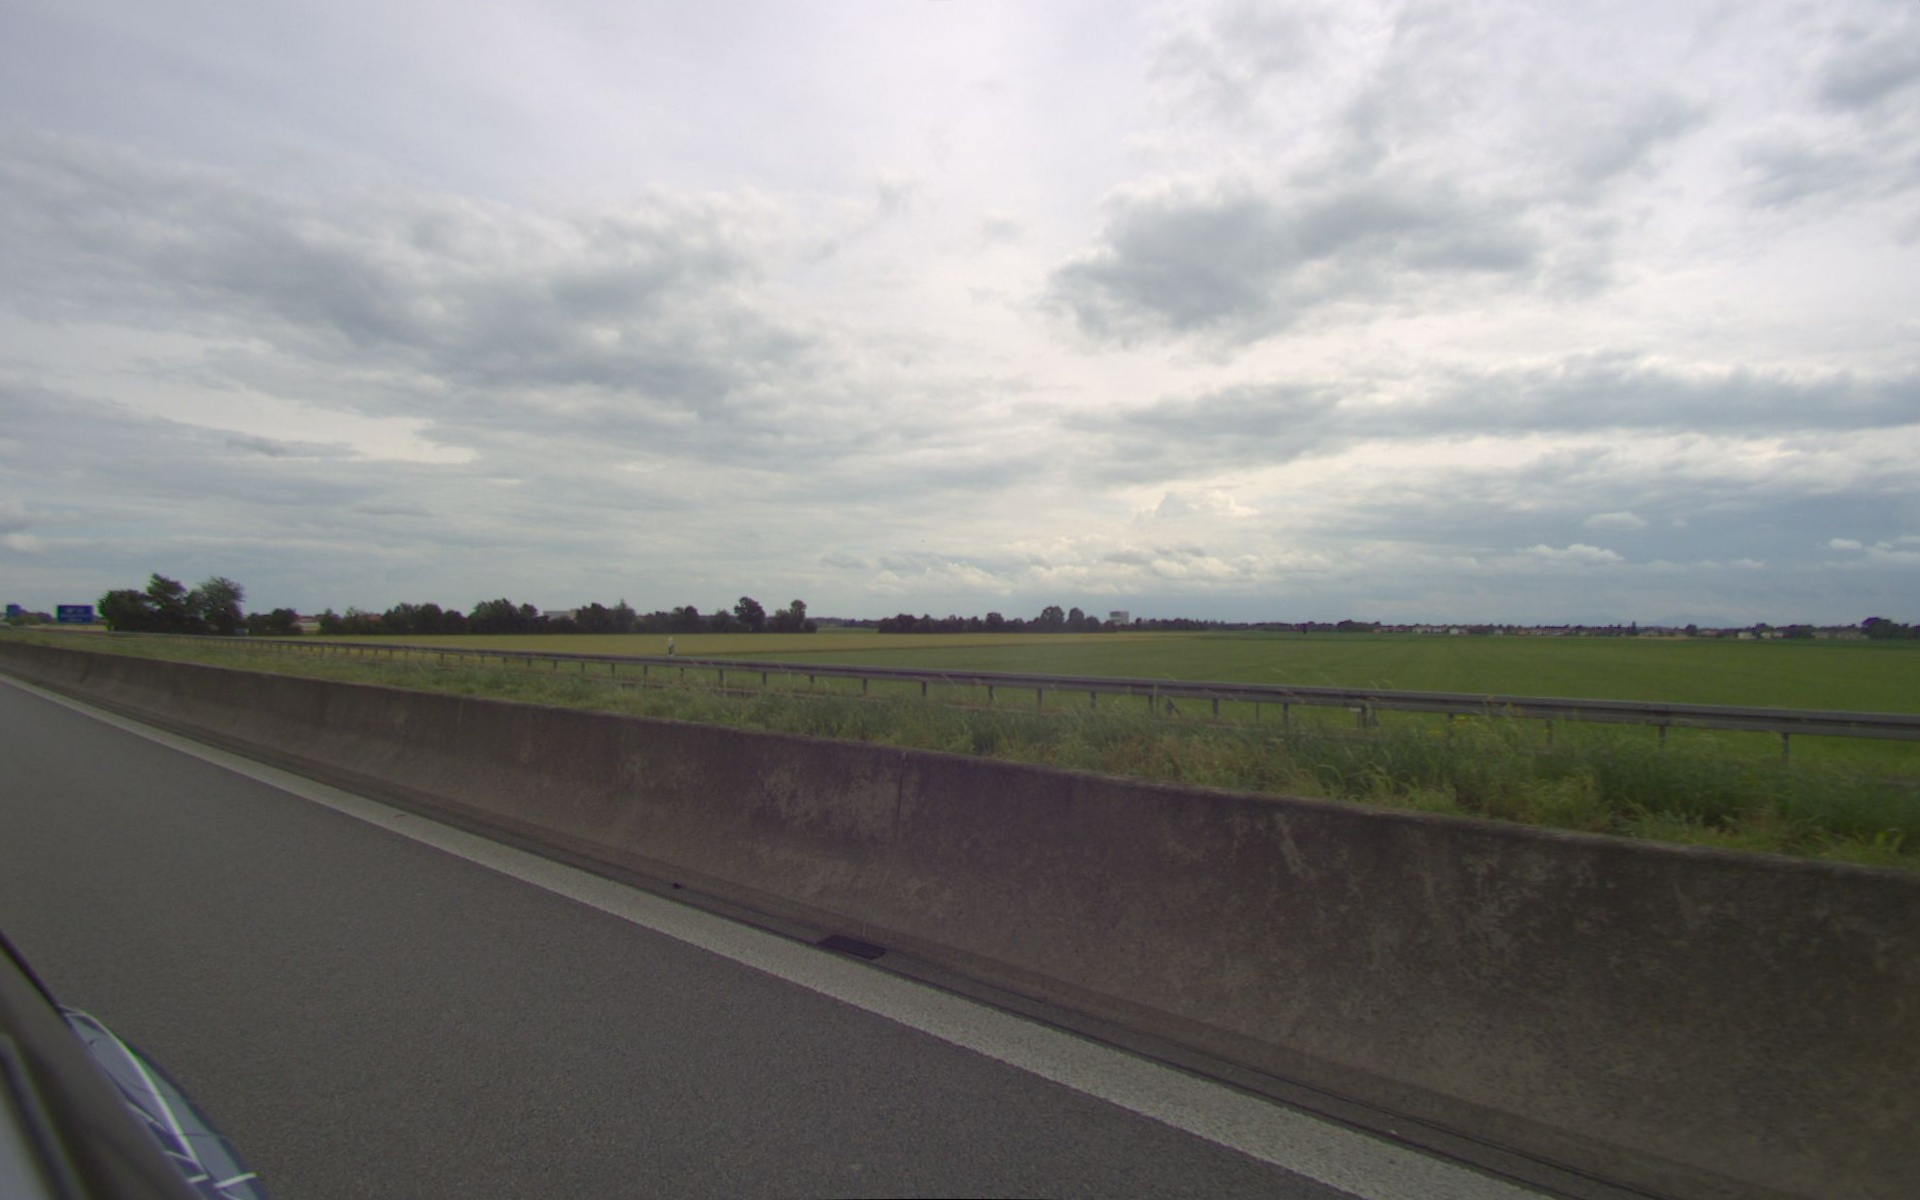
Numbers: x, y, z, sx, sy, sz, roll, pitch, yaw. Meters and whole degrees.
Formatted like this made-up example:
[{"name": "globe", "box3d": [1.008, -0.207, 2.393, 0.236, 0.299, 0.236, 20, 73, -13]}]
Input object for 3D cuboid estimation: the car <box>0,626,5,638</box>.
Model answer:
[{"name": "car", "box3d": [-124.393, 4.131, 130.240, 4.903, 1.483, 1.770, -1, -4, 42]}]
